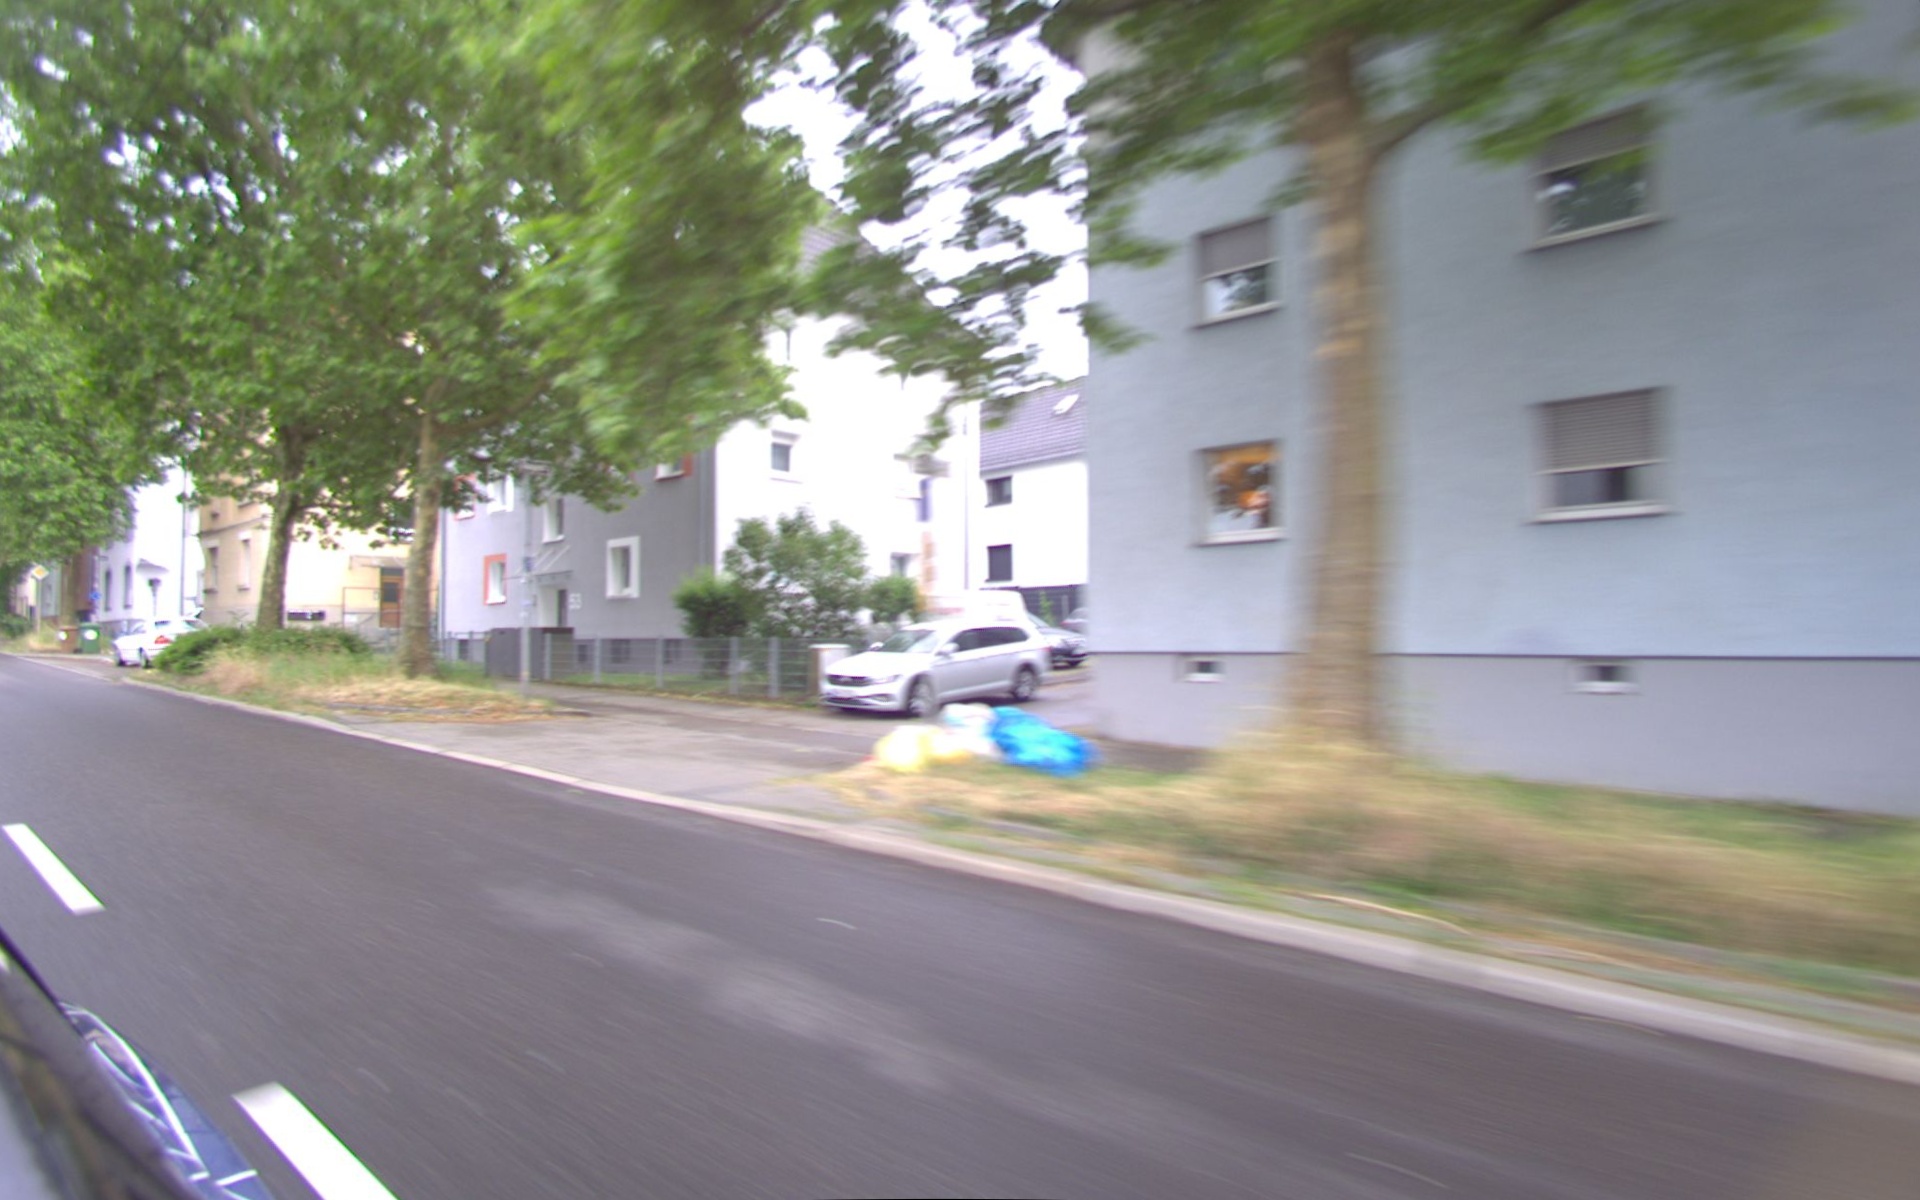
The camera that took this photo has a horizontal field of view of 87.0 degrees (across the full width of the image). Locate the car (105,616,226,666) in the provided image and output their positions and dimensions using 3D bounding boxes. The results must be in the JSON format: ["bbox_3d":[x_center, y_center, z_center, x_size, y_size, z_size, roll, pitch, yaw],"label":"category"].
[{"bbox_3d":[-22.940,1.130,29.156,4.533,1.336,1.738,0,-1,38],"label":"car"}]

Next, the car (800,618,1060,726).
[{"bbox_3d":[-0.374,1.114,17.449,1.869,1.488,4.614,0,0,41],"label":"car"}]

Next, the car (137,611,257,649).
[{"bbox_3d":[-39.323,1.509,52.259,2.019,1.791,4.622,0,0,40],"label":"car"}]

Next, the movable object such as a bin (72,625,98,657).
[{"bbox_3d":[-29.964,1.405,34.650,0.762,1.065,0.529,0,-2,41],"label":"movable object such as a bin"}]

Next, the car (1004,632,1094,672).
[{"bbox_3d":[2.171,1.257,24.843,1.925,0.871,1.159,0,0,45],"label":"car"}]

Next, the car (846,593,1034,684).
[{"bbox_3d":[-0.563,0.807,23.895,1.862,1.934,4.557,0,0,-44],"label":"car"}]

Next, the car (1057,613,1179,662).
[{"bbox_3d":[4.516,1.031,29.111,3.276,1.265,1.355,0,0,42],"label":"car"}]

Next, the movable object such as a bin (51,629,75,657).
[{"bbox_3d":[-30.303,1.446,34.198,0.581,0.935,0.506,0,-2,41],"label":"movable object such as a bin"}]
